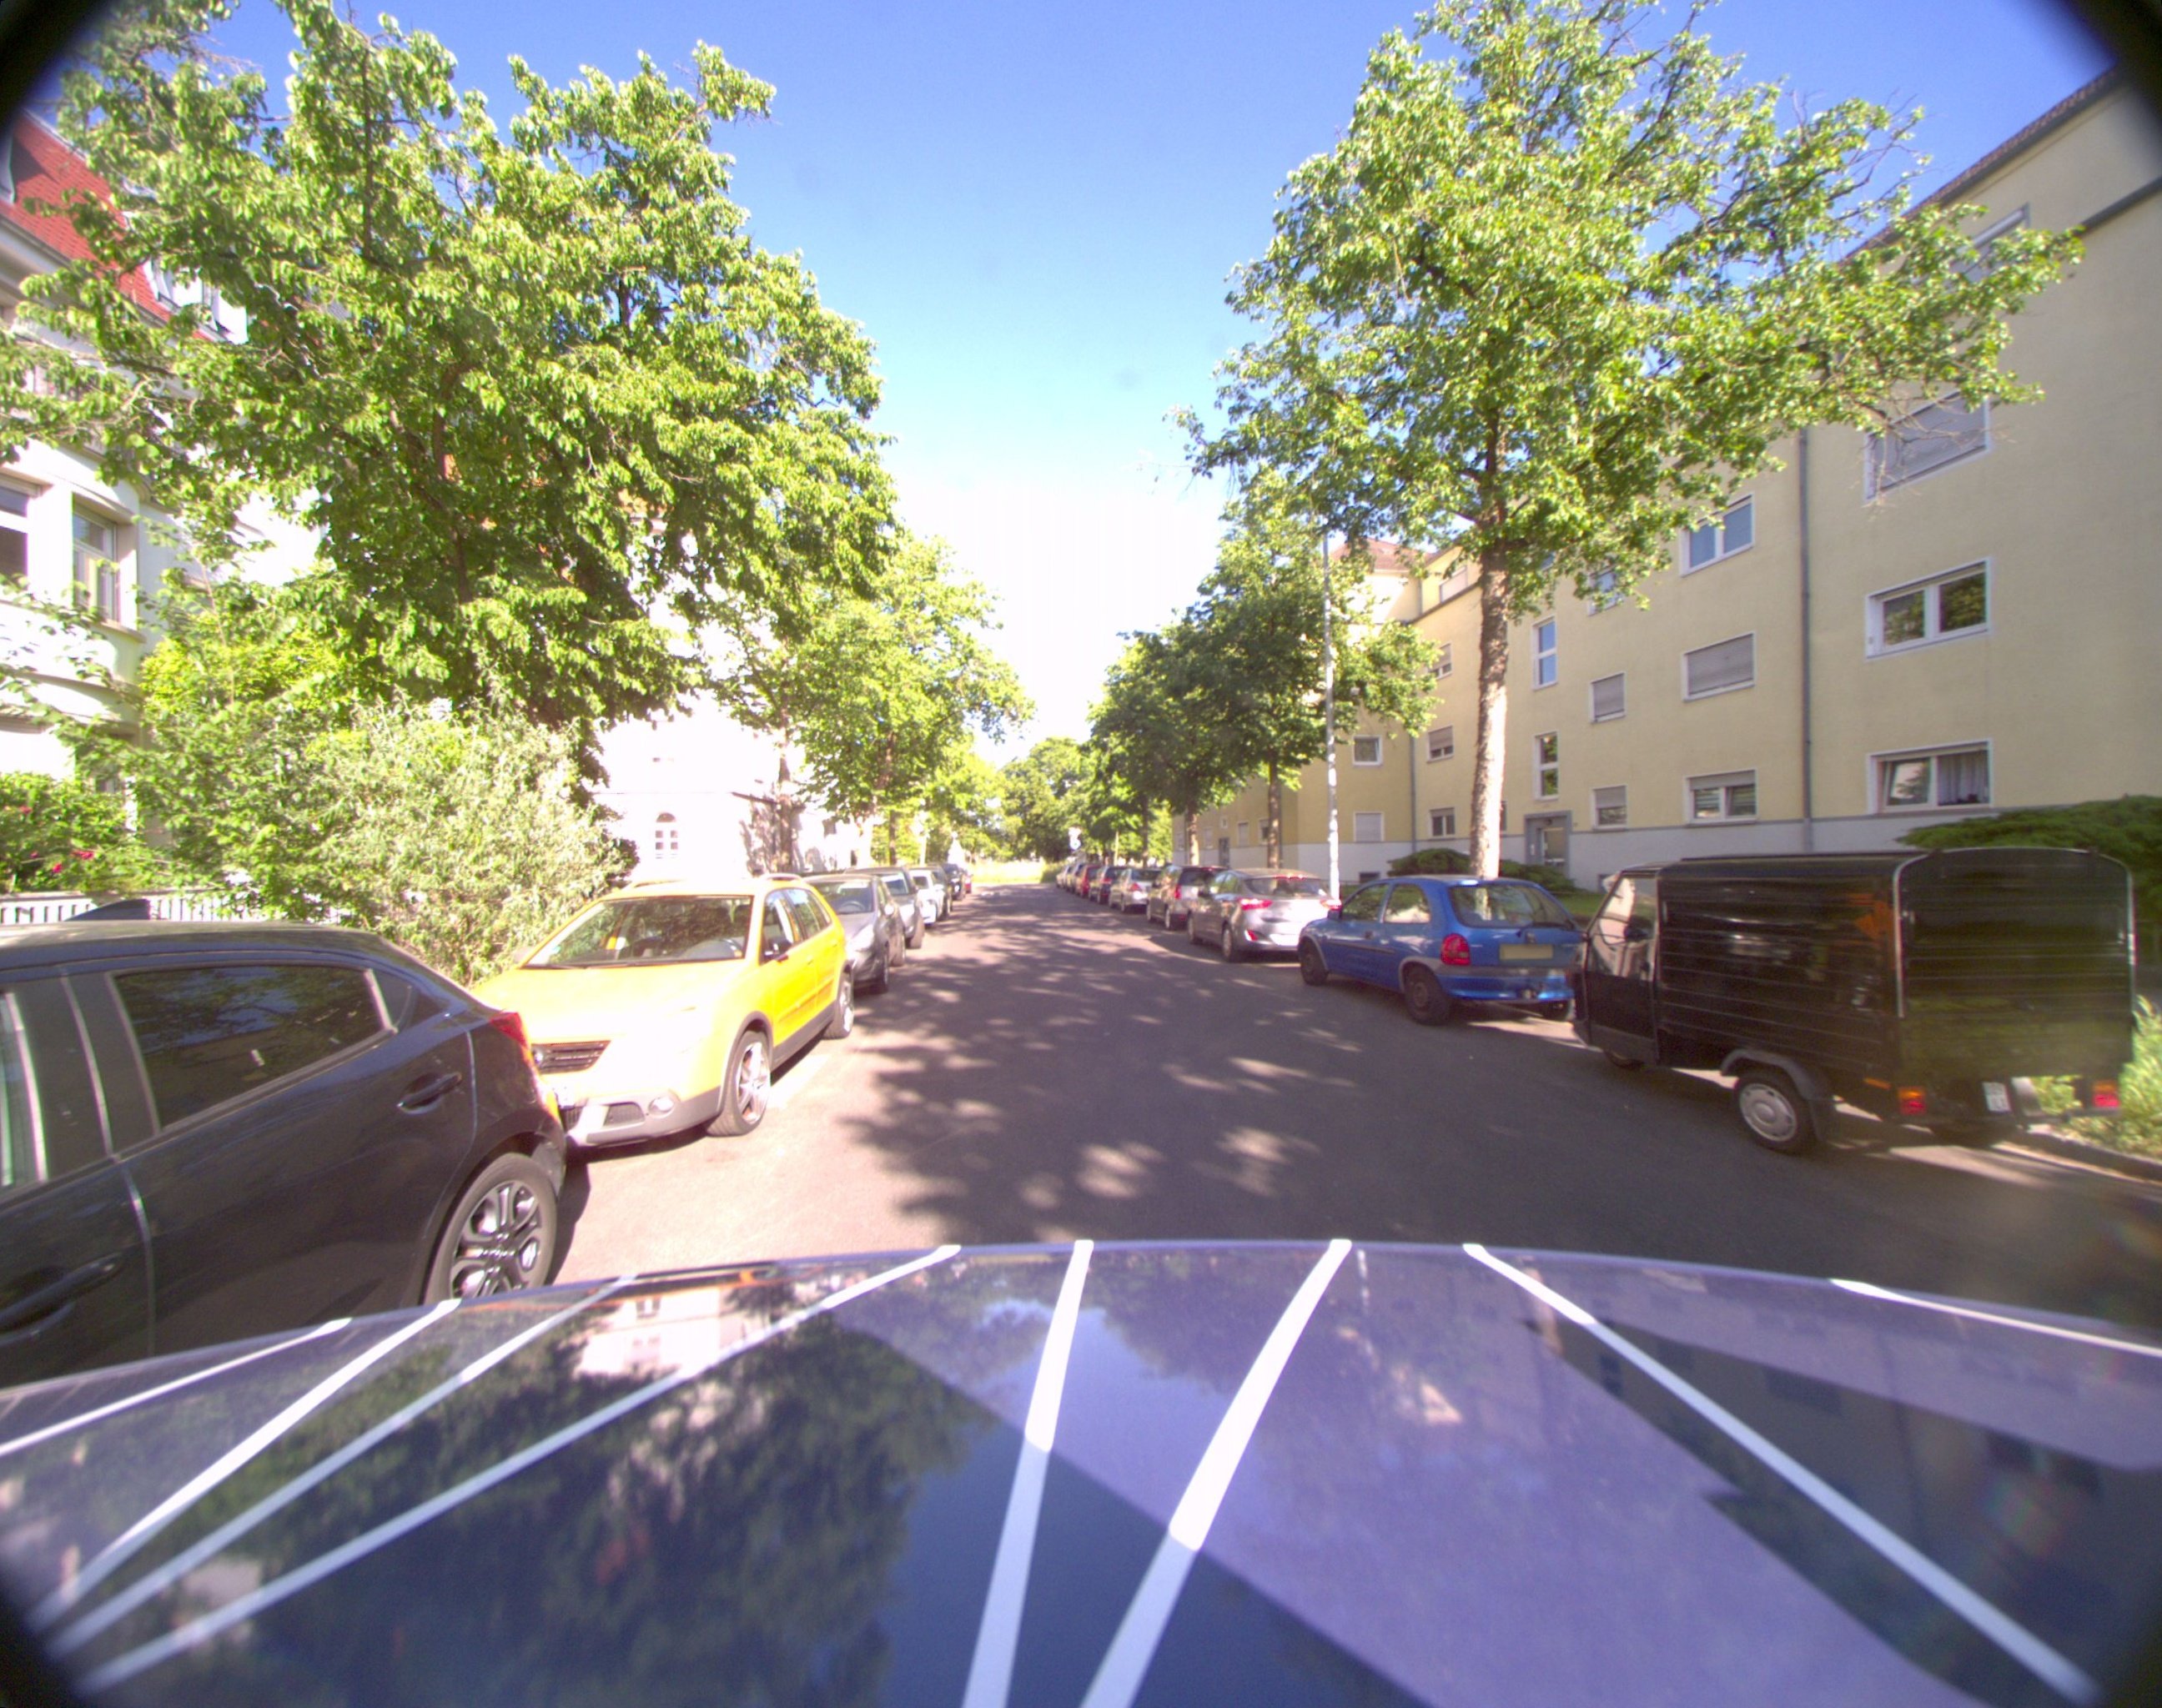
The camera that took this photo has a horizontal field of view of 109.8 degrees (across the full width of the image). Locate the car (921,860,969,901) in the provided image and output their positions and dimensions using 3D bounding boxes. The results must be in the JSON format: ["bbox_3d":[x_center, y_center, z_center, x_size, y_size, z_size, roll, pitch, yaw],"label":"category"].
[{"bbox_3d":[-6.034,1.134,34.070,1.786,1.688,4.295,0,0,-6],"label":"car"}]

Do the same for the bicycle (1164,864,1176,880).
[{"bbox_3d":[5.735,1.179,48.954,0.454,0.995,1.544,-1,0,-6],"label":"bicycle"}]

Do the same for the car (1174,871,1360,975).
[{"bbox_3d":[2.978,1.050,13.313,1.797,1.436,4.686,1,0,-4],"label":"car"}]

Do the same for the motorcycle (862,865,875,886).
[{"bbox_3d":[-13.251,1.324,47.334,0.659,1.272,1.798,1,0,-12],"label":"motorcycle"}]

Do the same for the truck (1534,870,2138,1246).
[{"bbox_3d":[4.011,0.902,4.507,1.087,1.568,2.431,-1,0,-4],"label":"truck"}]

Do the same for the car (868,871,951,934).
[{"bbox_3d":[-4.472,1.198,20.309,1.635,1.416,4.366,0,0,-6],"label":"car"}]

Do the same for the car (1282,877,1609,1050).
[{"bbox_3d":[3.712,1.010,8.521,1.525,1.387,3.724,-1,0,-7],"label":"car"}]

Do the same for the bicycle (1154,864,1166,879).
[{"bbox_3d":[5.440,1.224,52.266,0.477,0.995,1.544,-1,0,-5],"label":"bicycle"}]

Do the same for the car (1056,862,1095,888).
[{"bbox_3d":[-0.398,1.242,46.056,1.766,1.433,3.991,-1,0,-9],"label":"car"}]

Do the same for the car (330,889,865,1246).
[{"bbox_3d":[-2.803,1.071,5.583,1.642,1.446,4.097,-1,0,-6],"label":"car"}]

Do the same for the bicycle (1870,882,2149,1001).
[{"bbox_3d":[9.921,0.872,8.217,0.487,1.075,1.841,-4,2,-30],"label":"bicycle"}]

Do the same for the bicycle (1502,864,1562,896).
[{"bbox_3d":[13.333,0.764,22.459,1.638,0.925,0.480,0,0,-14],"label":"bicycle"}]

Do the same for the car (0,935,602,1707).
[{"bbox_3d":[-2.636,1.044,1.014,1.705,1.440,4.080,0,0,-5],"label":"car"}]

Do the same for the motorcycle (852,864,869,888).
[{"bbox_3d":[-13.047,1.264,44.983,0.541,1.353,2.088,-1,0,-6],"label":"motorcycle"}]

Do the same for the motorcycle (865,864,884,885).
[{"bbox_3d":[-13.361,1.319,49.203,0.974,1.321,1.851,-1,0,-11],"label":"motorcycle"}]

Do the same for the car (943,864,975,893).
[{"bbox_3d":[-6.618,1.285,41.145,1.616,1.401,4.348,-1,0,-10],"label":"car"}]

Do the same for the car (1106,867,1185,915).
[{"bbox_3d":[1.993,1.129,24.820,1.751,1.360,4.672,0,0,-6],"label":"car"}]

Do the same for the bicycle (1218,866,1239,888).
[{"bbox_3d":[7.185,1.090,37.136,0.537,1.020,1.747,-1,0,-4],"label":"bicycle"}]

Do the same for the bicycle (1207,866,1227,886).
[{"bbox_3d":[6.980,1.114,39.058,0.542,1.020,1.747,-1,0,-4],"label":"bicycle"}]

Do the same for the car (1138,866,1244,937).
[{"bbox_3d":[2.597,1.079,18.916,1.625,1.506,4.267,1,0,-5],"label":"car"}]

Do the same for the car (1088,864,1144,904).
[{"bbox_3d":[1.338,1.126,30.256,1.670,1.450,3.931,-1,0,-6],"label":"car"}]

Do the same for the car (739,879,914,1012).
[{"bbox_3d":[-3.338,1.113,10.615,1.654,1.420,3.610,0,0,-8],"label":"car"}]

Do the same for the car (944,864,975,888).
[{"bbox_3d":[-7.314,1.296,45.934,1.658,1.394,4.133,-1,0,-7],"label":"car"}]

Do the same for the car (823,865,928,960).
[{"bbox_3d":[-4.096,1.073,15.681,1.654,1.646,3.844,-1,0,-9],"label":"car"}]

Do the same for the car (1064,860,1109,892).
[{"bbox_3d":[0.221,1.119,39.669,1.697,1.555,4.732,-1,0,-8],"label":"car"}]

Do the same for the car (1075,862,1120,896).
[{"bbox_3d":[0.708,1.130,35.113,1.670,1.477,3.254,-1,0,-6],"label":"car"}]

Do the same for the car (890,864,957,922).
[{"bbox_3d":[-5.054,1.189,24.866,1.689,1.578,4.533,-3,0,-7],"label":"car"}]
